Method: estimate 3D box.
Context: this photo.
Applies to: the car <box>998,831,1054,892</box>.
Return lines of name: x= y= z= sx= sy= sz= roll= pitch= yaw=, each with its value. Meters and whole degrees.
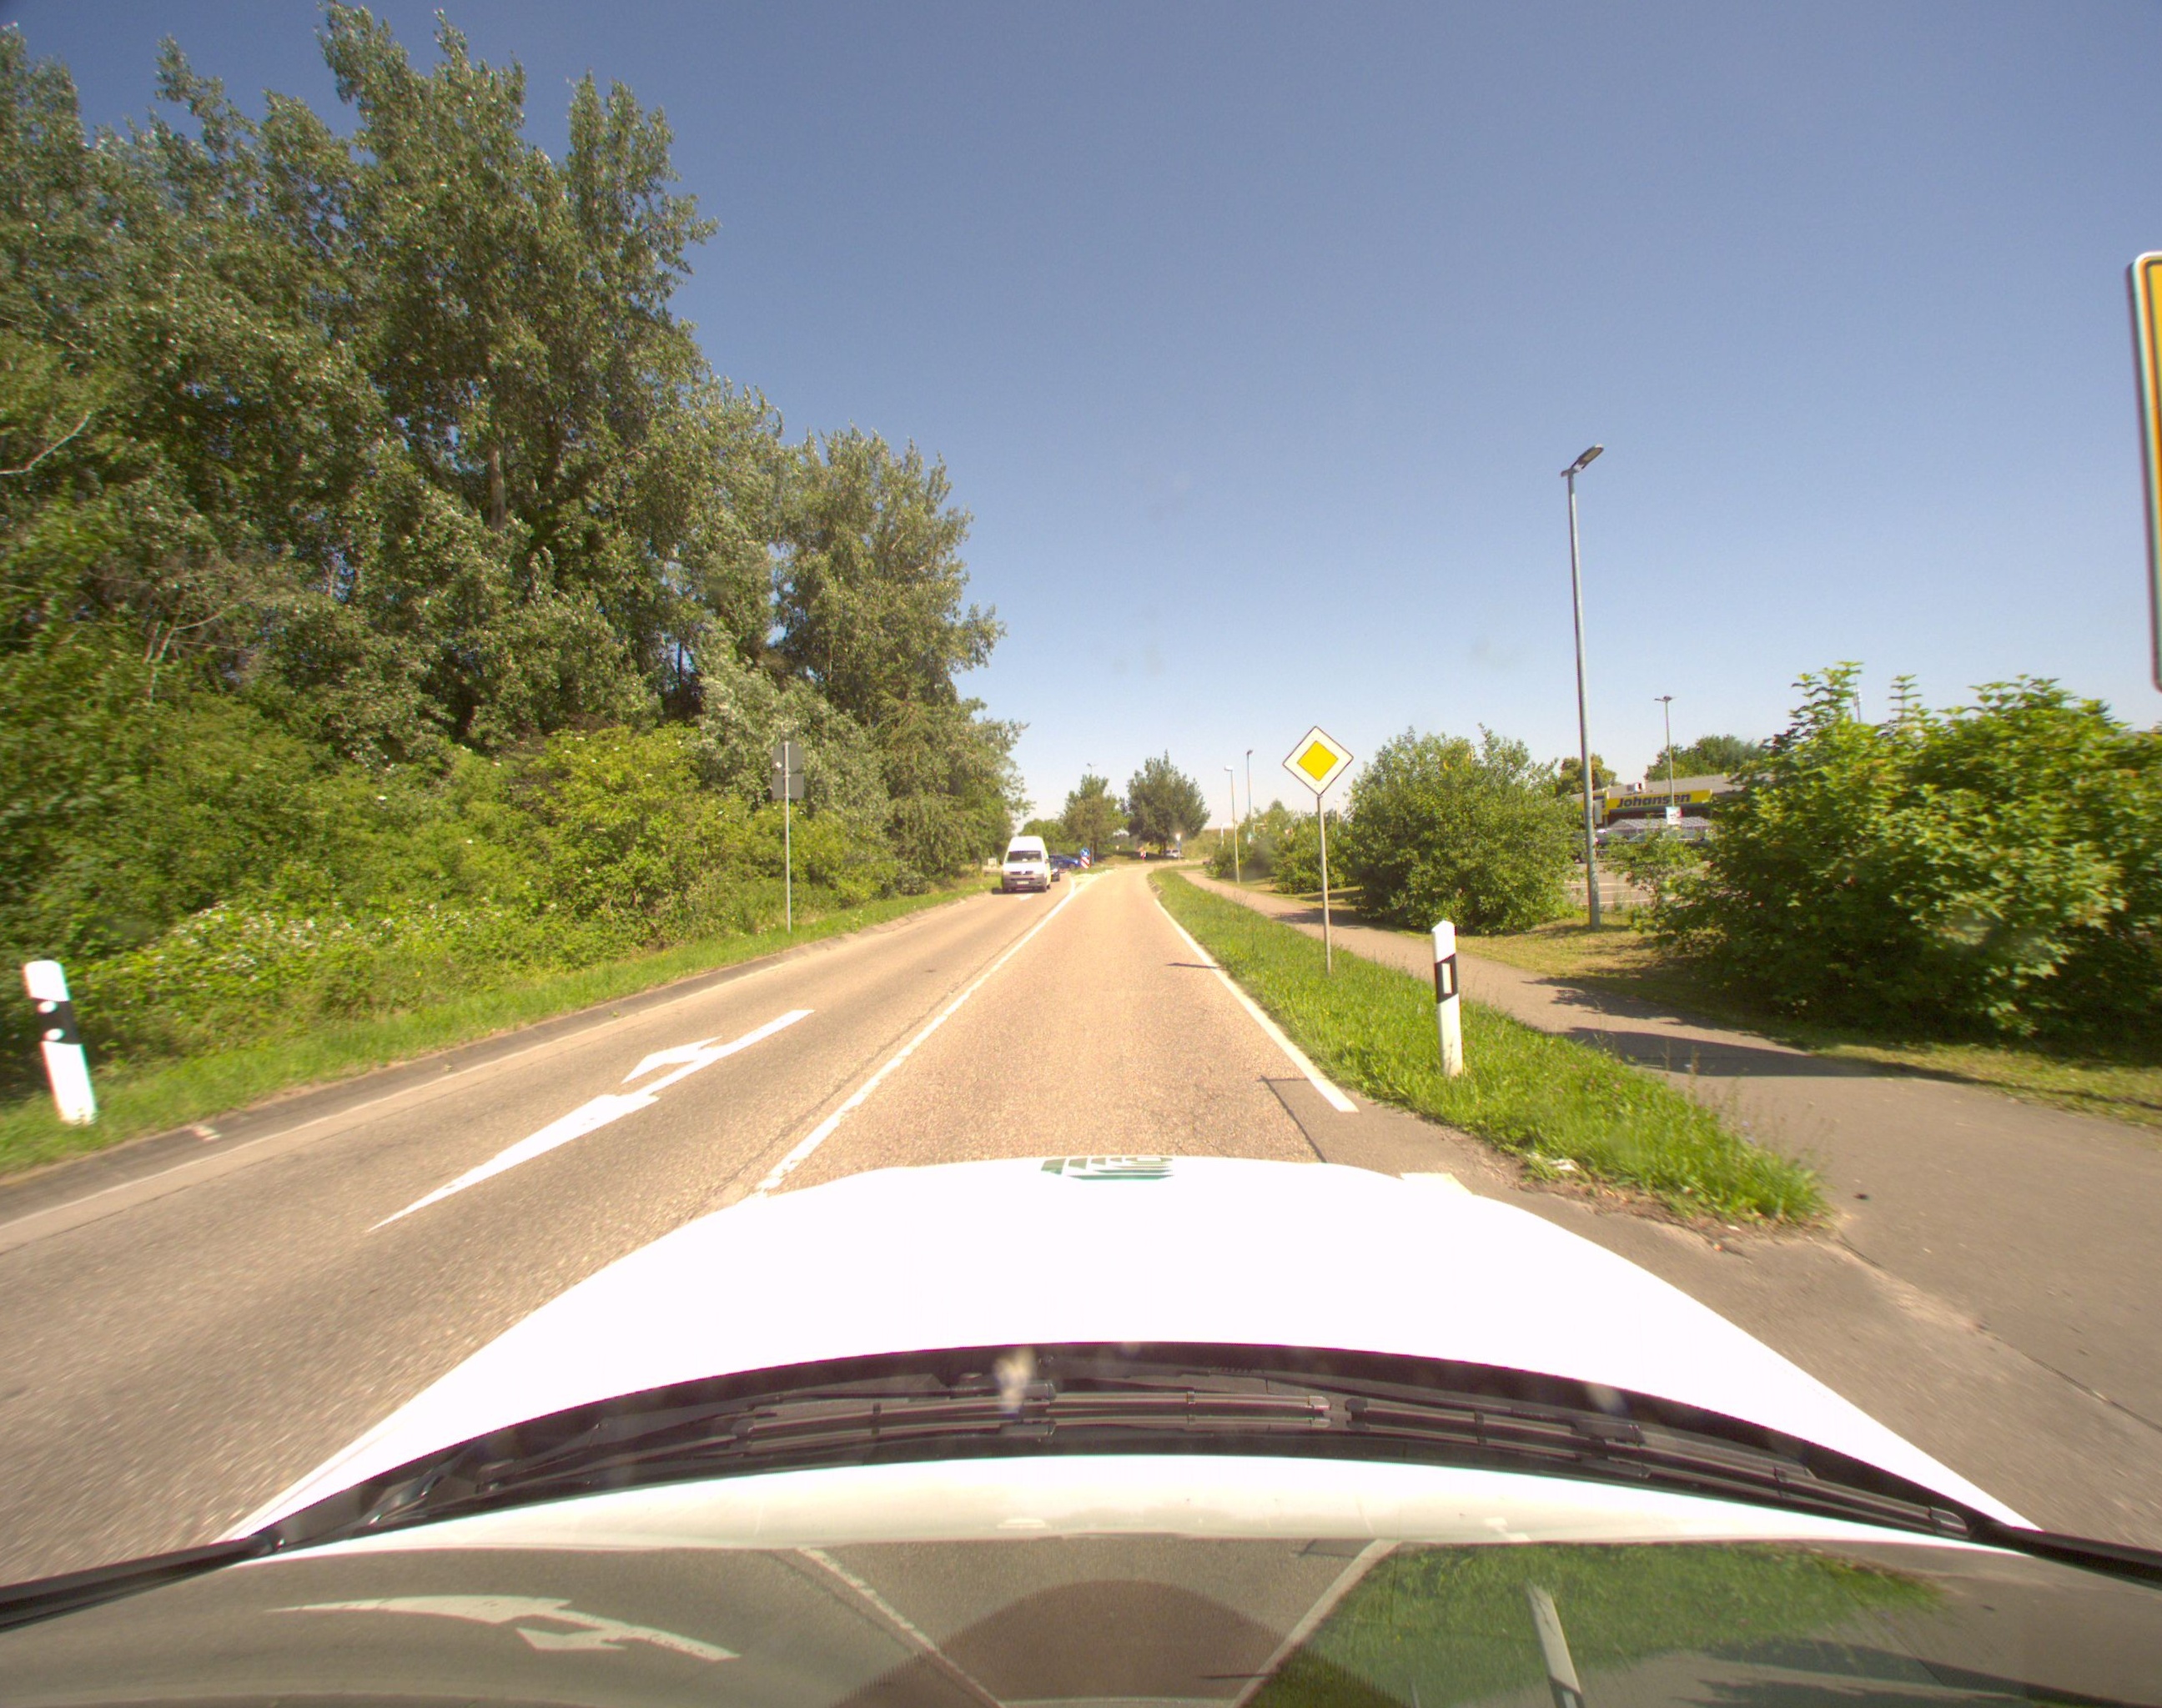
car: x=-2.345 y=0.313 z=35.827 sx=1.905 sy=2.400 sz=4.912 roll=-2 pitch=0 yaw=1

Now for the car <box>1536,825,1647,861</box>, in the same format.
car: x=24.877 y=-0.527 z=39.797 sx=4.140 sy=1.574 sz=2.000 roll=-2 pitch=0 yaw=0

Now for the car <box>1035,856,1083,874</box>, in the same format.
car: x=-2.182 y=1.072 z=80.112 sx=4.385 sy=1.571 sz=1.721 roll=-2 pitch=0 yaw=11

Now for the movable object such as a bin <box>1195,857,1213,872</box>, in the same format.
movable object such as a bin: x=9.611 y=0.784 z=63.700 sx=0.859 sy=1.120 sz=1.464 roll=-2 pitch=0 yaw=30

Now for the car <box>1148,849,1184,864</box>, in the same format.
car: x=11.644 y=0.301 z=111.381 sx=4.476 sy=1.859 sz=2.009 roll=-3 pitch=0 yaw=16

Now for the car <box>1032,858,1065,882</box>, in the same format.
car: x=-2.011 y=0.991 z=51.584 sx=1.692 sy=1.389 sz=4.296 roll=-2 pitch=0 yaw=2
